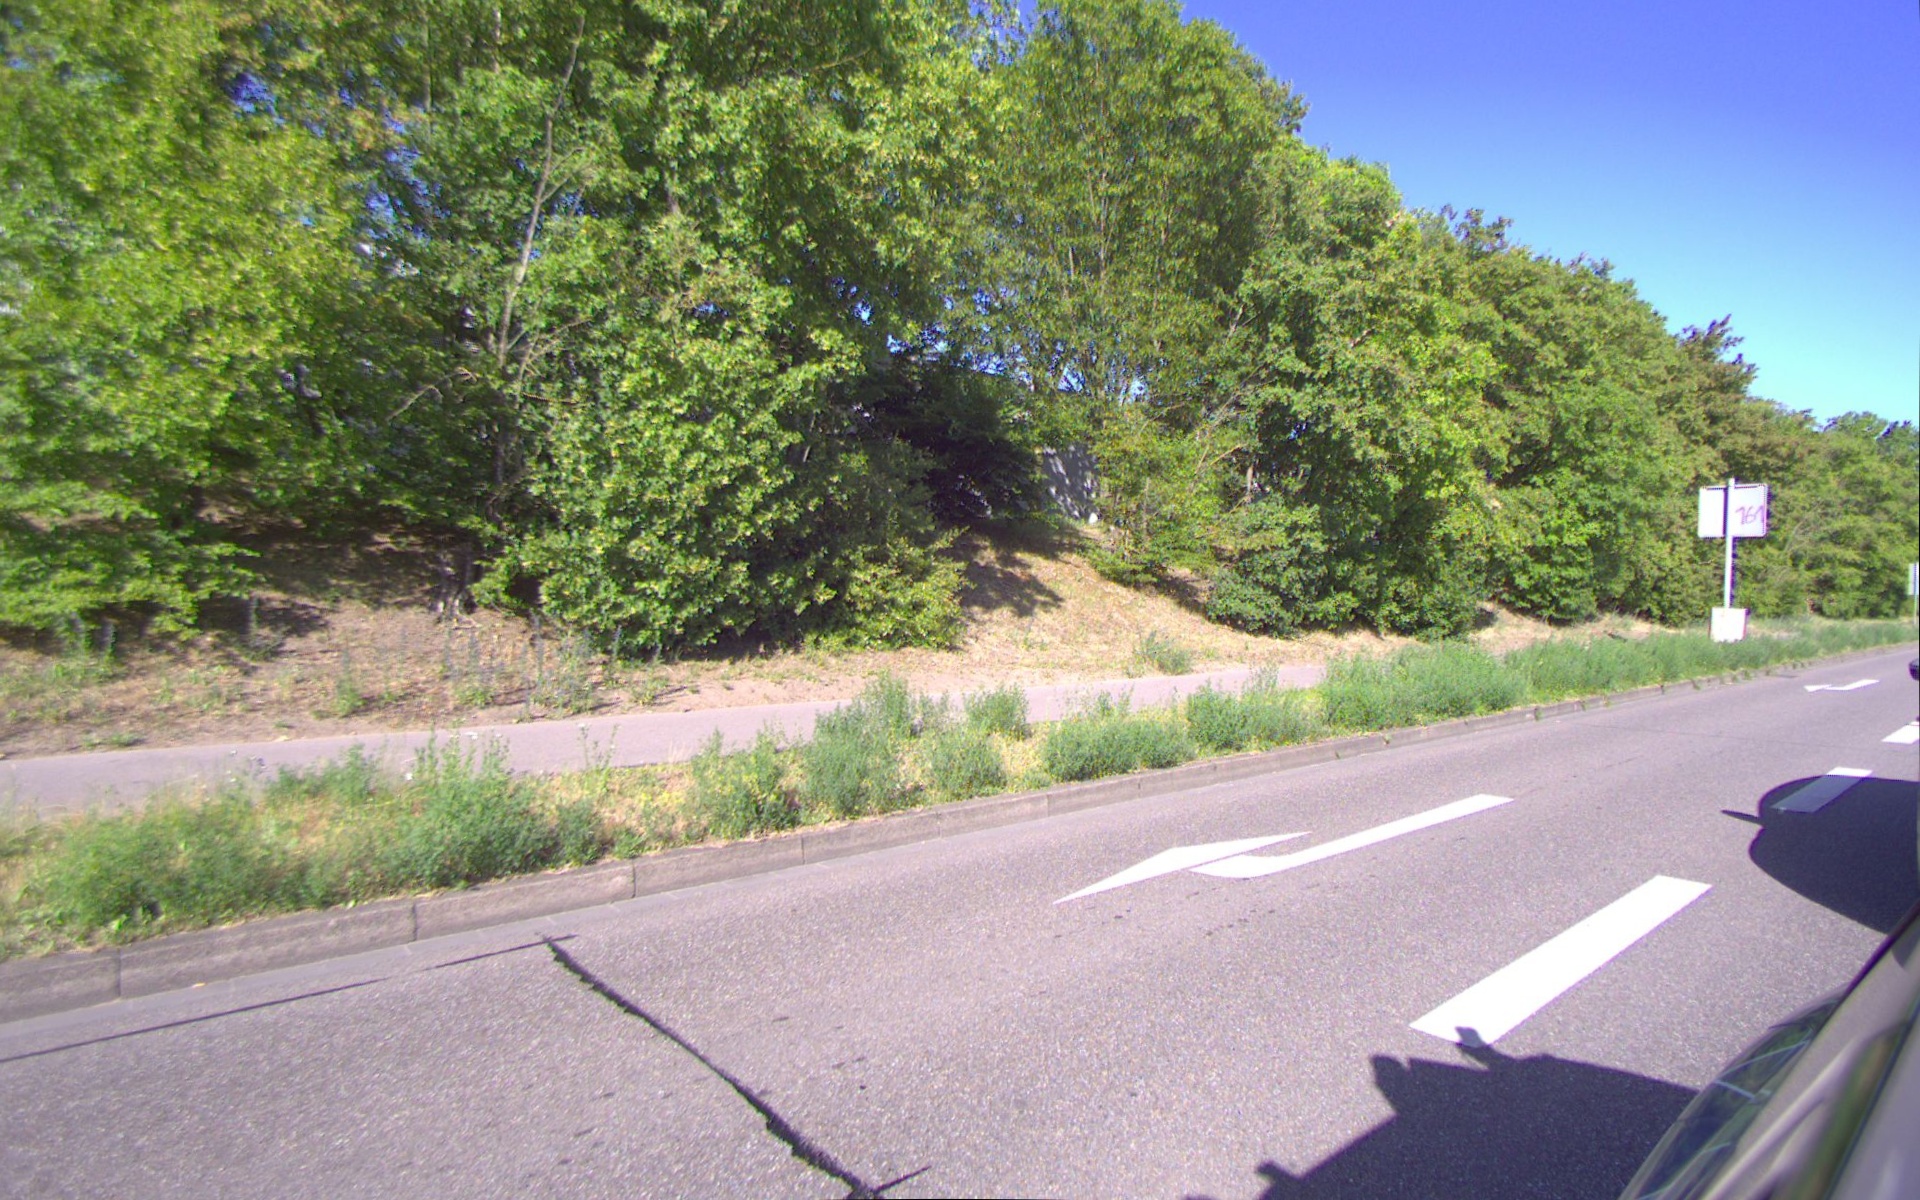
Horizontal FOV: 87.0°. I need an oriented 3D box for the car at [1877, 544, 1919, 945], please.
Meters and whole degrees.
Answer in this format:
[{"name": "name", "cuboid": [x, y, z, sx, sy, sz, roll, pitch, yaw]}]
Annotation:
[{"name": "car", "cuboid": [5.999, 0.596, 4.768, 4.026, 1.631, 2.023, 0, 0, -41]}]
